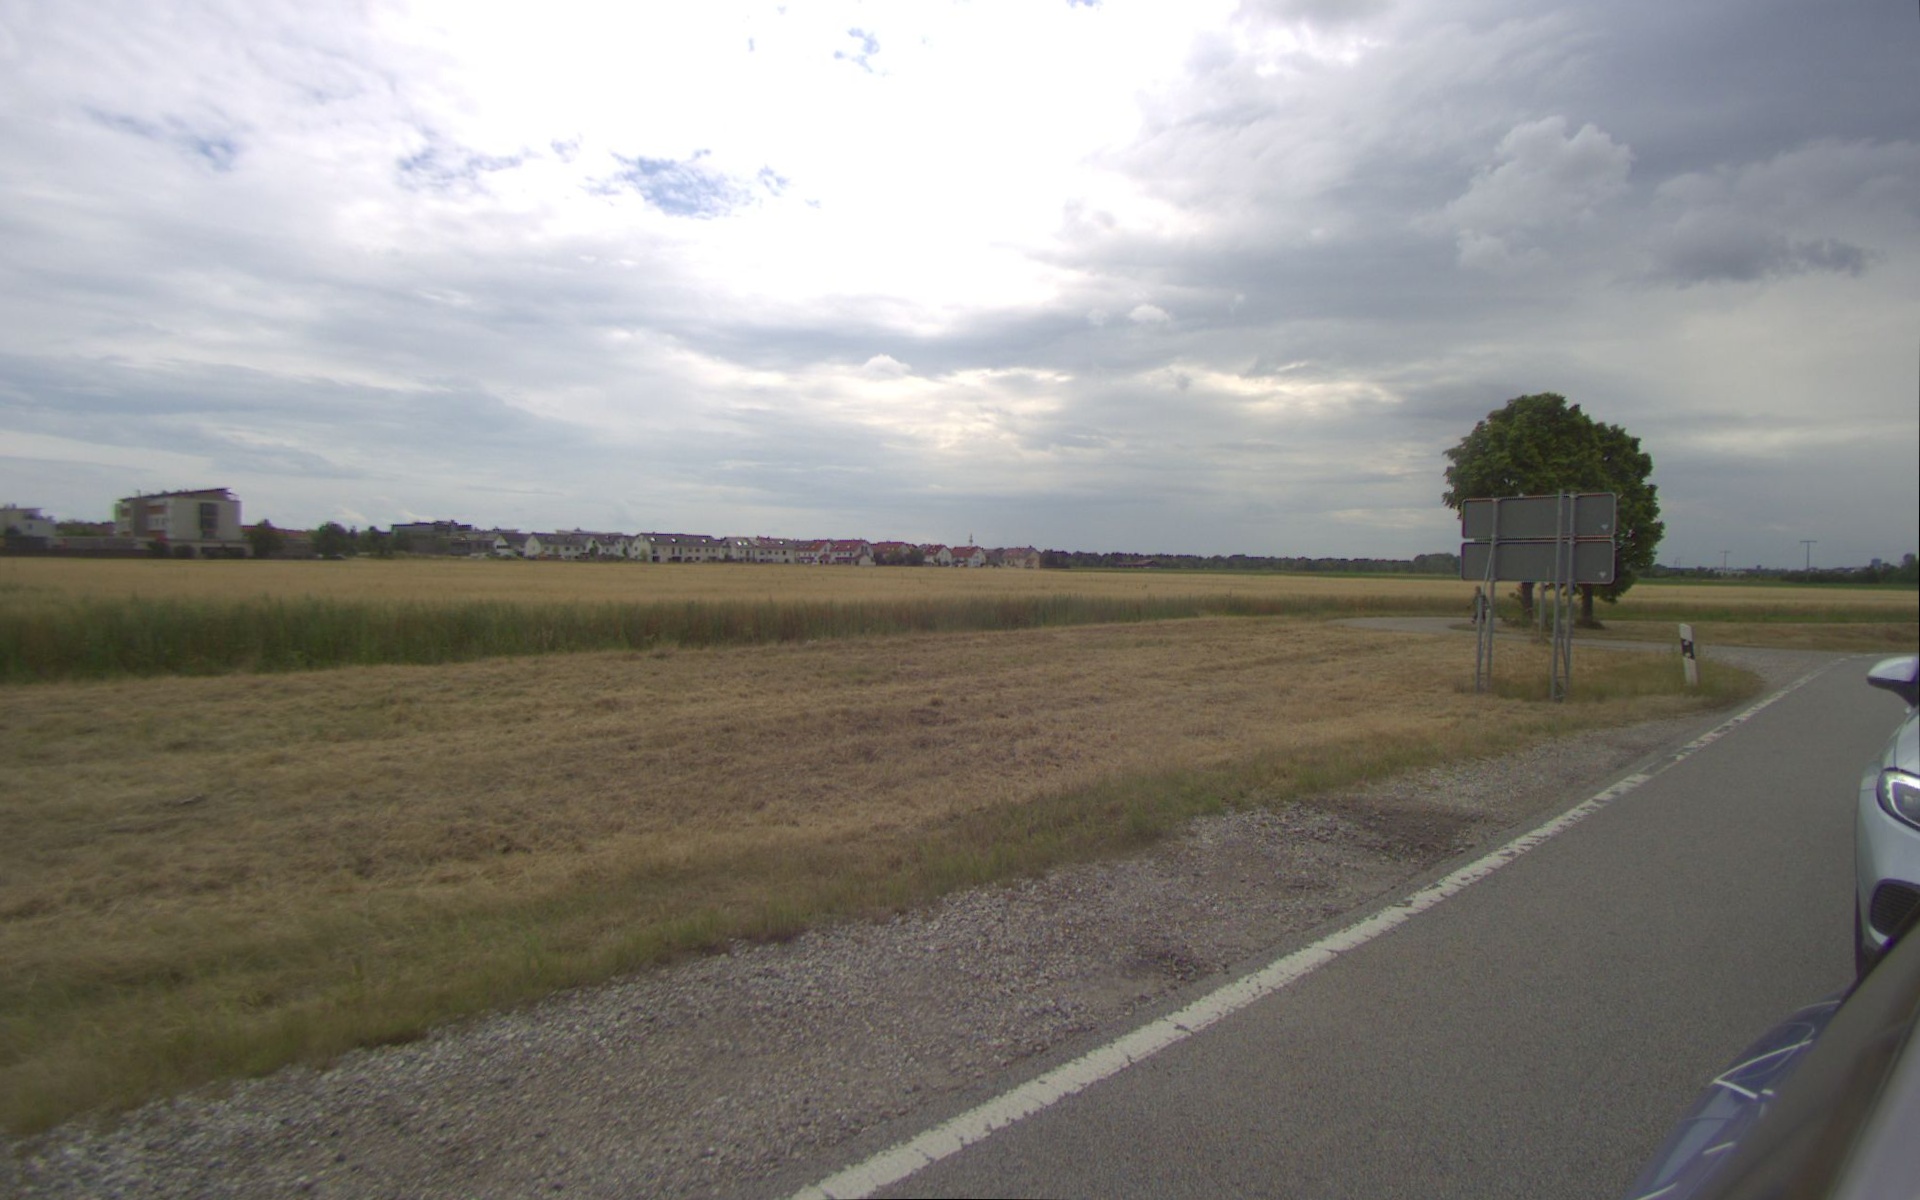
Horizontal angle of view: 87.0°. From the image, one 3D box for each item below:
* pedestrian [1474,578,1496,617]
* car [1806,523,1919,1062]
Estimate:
[{"bbox_3d":[22.521,-0.123,43.399,0.766,1.631,0.936,2,2,28],"label":"pedestrian"},{"bbox_3d":[4.946,0.540,3.901,4.319,1.606,1.993,-1,1,-42],"label":"car"}]
